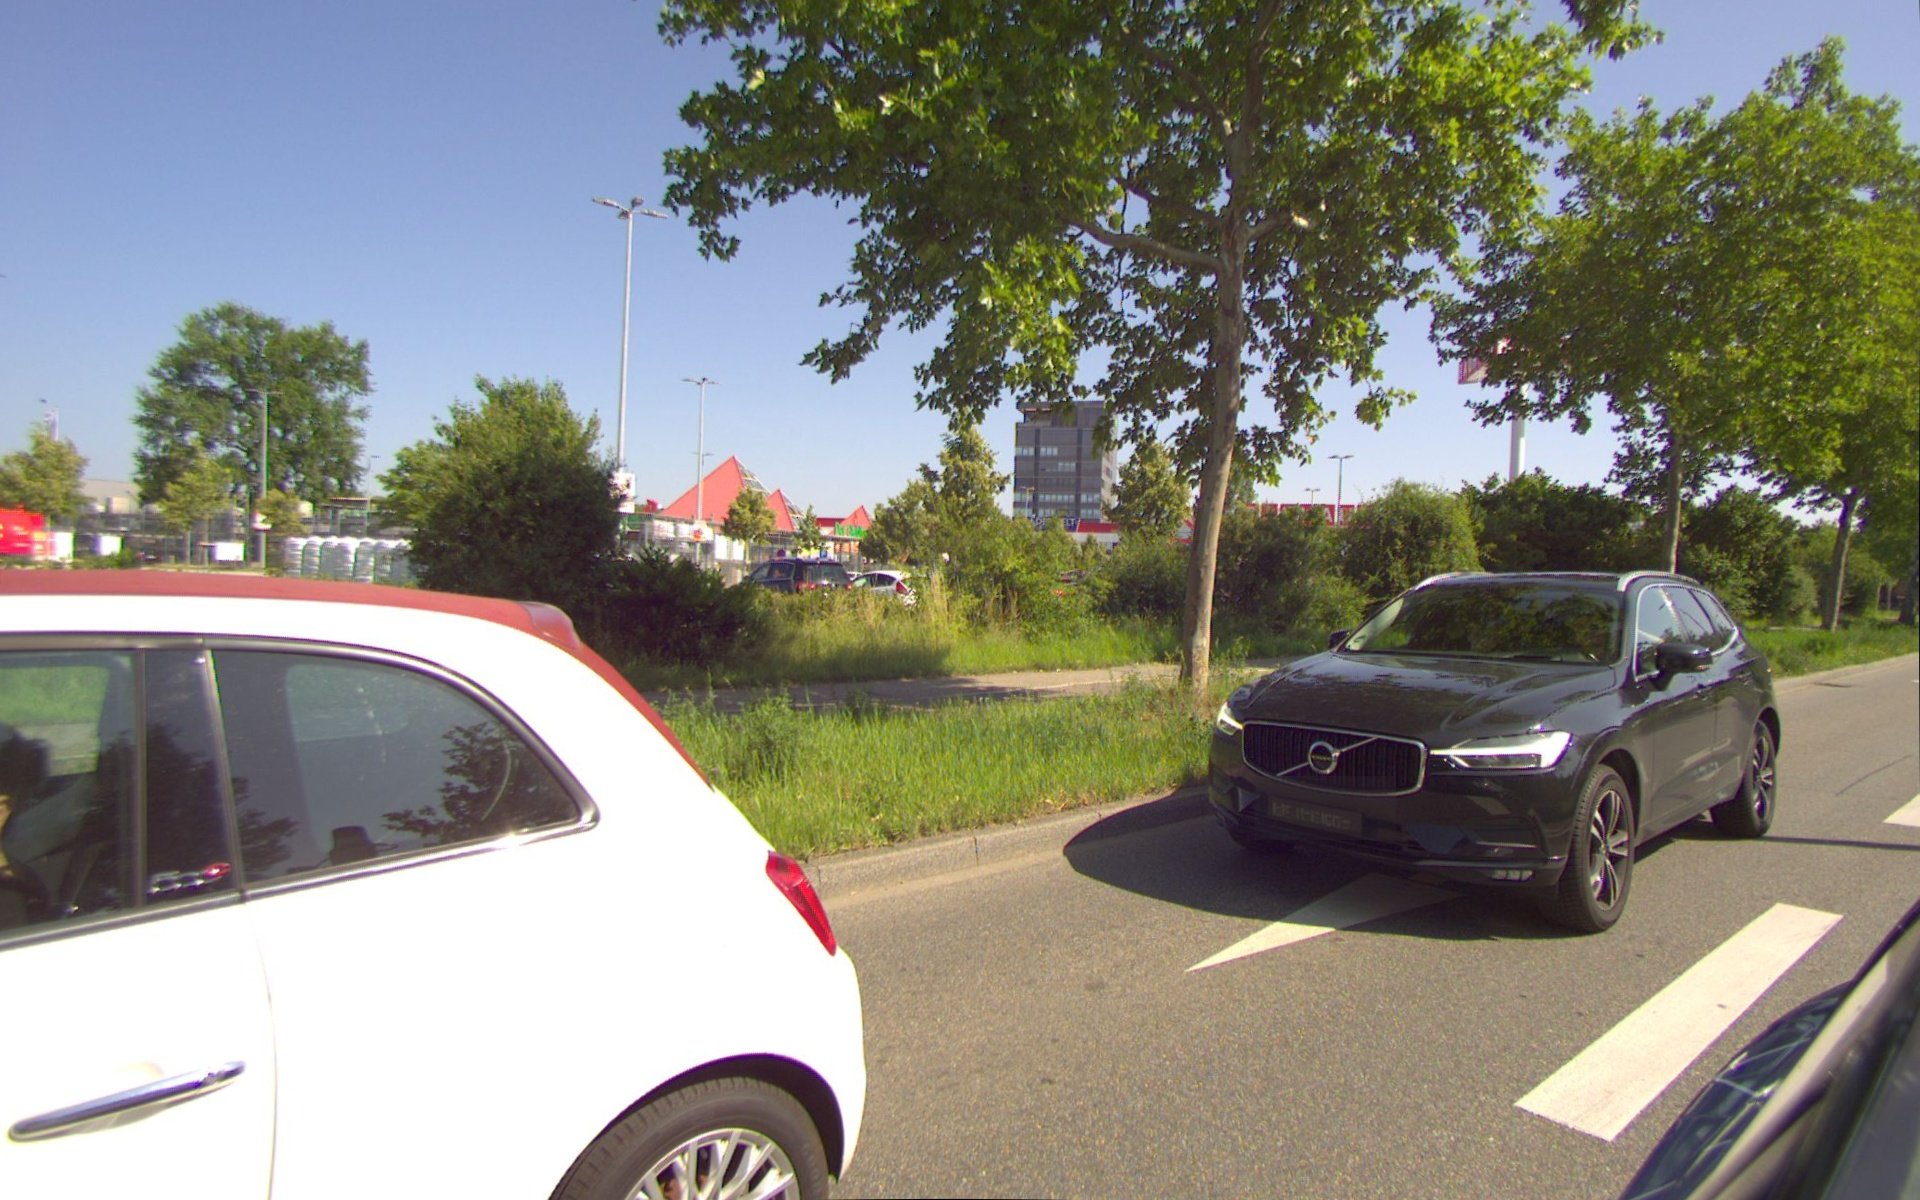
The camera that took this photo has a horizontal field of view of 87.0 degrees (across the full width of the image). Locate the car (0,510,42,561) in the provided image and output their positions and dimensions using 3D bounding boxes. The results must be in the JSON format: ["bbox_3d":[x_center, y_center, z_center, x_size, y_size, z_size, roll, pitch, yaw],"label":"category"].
[{"bbox_3d":[-46.579,-3.064,46.769,2.087,2.370,5.903,1,1,18],"label":"car"}]

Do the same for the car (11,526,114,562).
[{"bbox_3d":[-54.466,-3.353,61.523,1.971,2.039,4.370,0,1,15],"label":"car"}]

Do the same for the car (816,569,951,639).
[{"bbox_3d":[-2.088,0.059,26.898,3.549,1.717,1.692,1,1,45],"label":"car"}]

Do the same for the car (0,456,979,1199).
[{"bbox_3d":[-1.823,0.548,1.667,3.456,1.454,1.665,0,1,-39],"label":"car"}]

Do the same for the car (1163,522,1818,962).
[{"bbox_3d":[3.367,0.496,5.977,4.485,1.642,1.923,-1,1,-41],"label":"car"}]

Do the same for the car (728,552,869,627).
[{"bbox_3d":[-4.022,-0.279,24.983,3.549,1.717,1.692,1,1,45],"label":"car"}]
